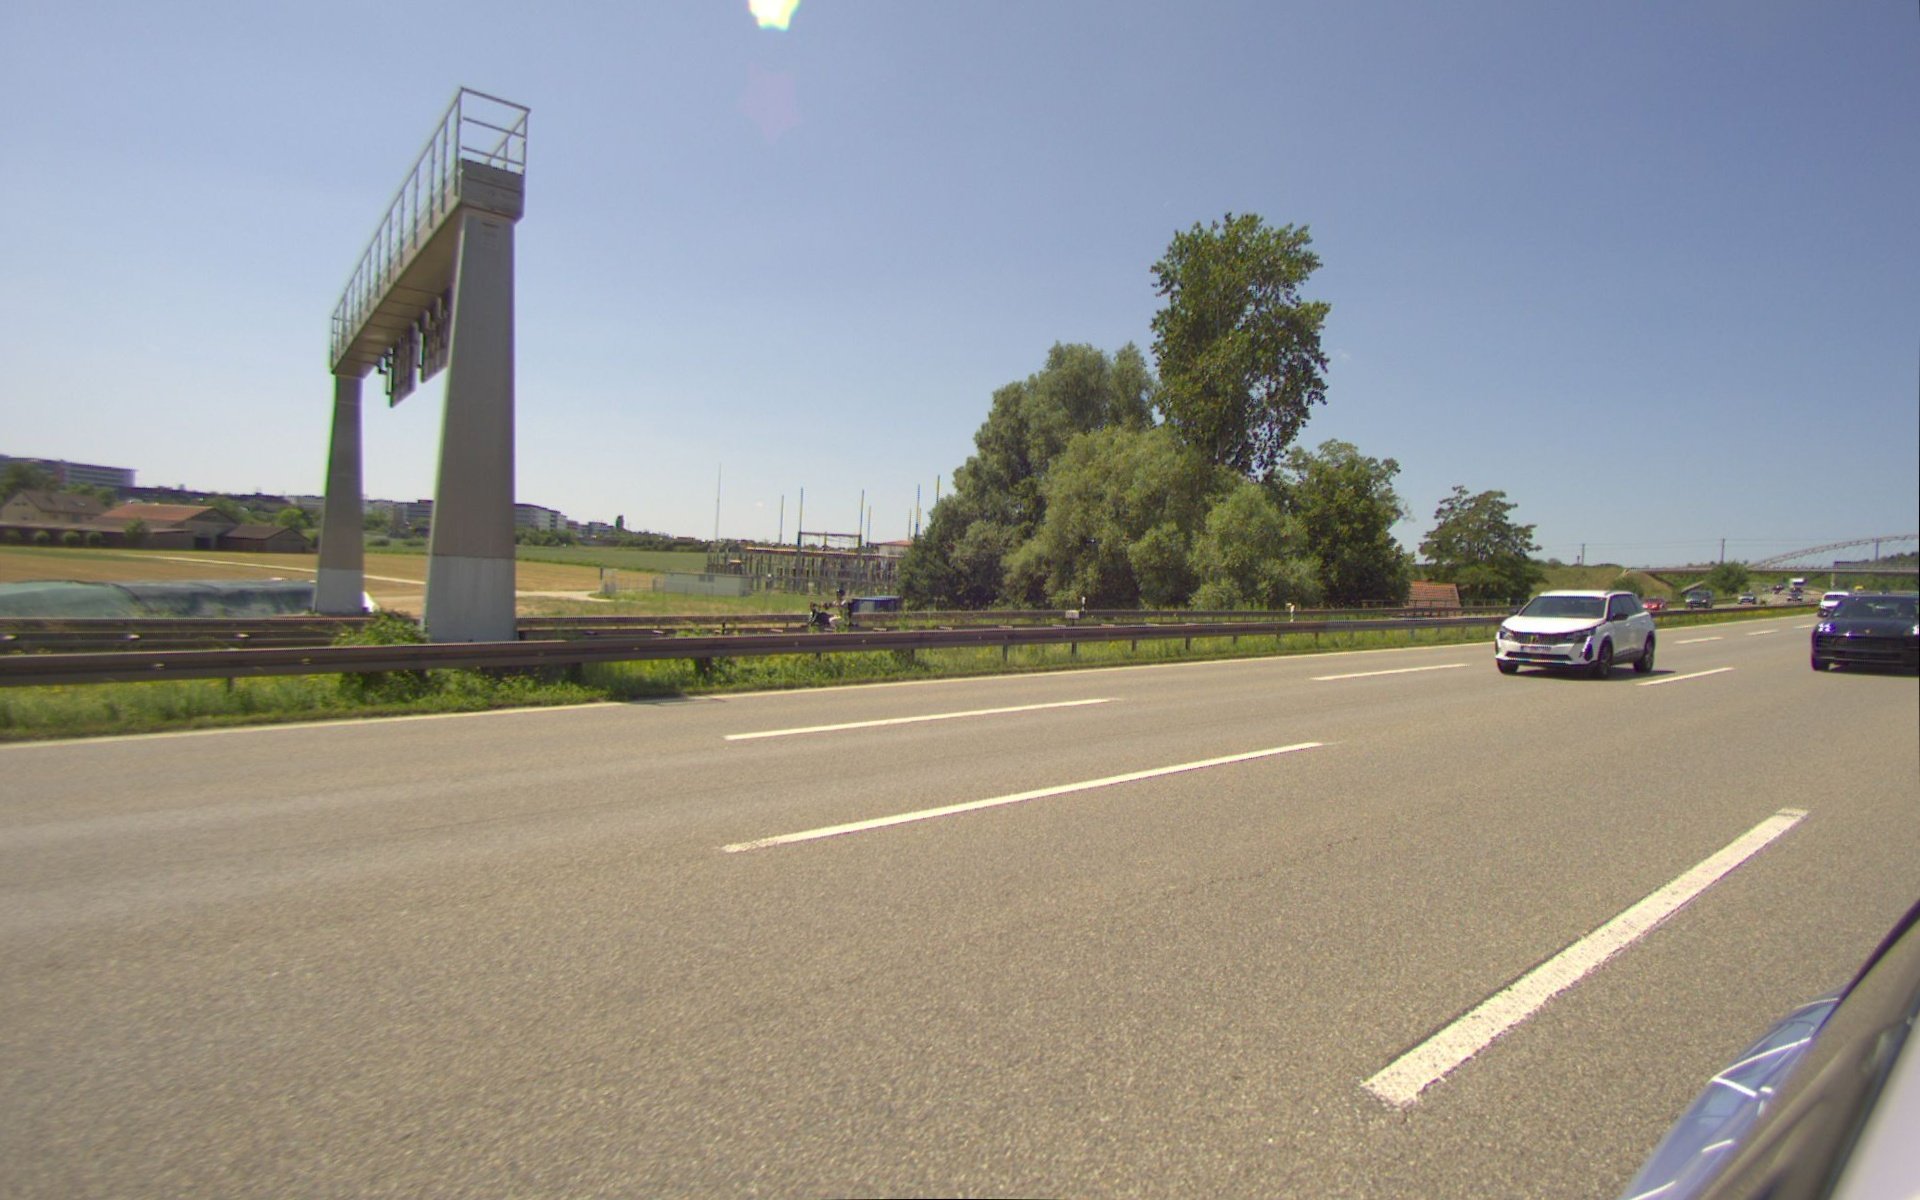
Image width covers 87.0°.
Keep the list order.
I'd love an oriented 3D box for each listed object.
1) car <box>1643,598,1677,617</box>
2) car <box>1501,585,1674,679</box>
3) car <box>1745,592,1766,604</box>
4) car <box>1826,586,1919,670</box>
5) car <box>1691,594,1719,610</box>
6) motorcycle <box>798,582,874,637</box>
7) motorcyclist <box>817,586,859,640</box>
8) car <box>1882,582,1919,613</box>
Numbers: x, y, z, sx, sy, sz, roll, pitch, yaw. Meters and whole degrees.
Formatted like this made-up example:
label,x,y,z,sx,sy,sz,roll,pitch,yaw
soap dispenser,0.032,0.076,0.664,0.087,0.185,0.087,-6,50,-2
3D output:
label,x,y,z,sx,sy,sz,roll,pitch,yaw
car,61.039,0.621,88.223,4.059,1.594,1.701,-1,1,-43
car,12.431,0.524,19.923,4.541,1.611,1.746,-1,1,-42
car,108.936,-0.327,138.497,4.060,1.594,1.701,-1,1,-44
car,19.821,0.524,21.399,4.064,1.615,1.928,-1,1,-44
car,79.830,0.184,108.418,4.059,1.594,1.701,-1,1,-43
motorcycle,-3.203,0.228,26.251,1.836,1.383,0.762,-1,1,-39
motorcyclist,-3.163,0.328,26.289,0.862,1.383,0.670,-1,1,-37
car,61.016,-0.213,65.266,4.221,1.943,1.807,-1,1,-41
